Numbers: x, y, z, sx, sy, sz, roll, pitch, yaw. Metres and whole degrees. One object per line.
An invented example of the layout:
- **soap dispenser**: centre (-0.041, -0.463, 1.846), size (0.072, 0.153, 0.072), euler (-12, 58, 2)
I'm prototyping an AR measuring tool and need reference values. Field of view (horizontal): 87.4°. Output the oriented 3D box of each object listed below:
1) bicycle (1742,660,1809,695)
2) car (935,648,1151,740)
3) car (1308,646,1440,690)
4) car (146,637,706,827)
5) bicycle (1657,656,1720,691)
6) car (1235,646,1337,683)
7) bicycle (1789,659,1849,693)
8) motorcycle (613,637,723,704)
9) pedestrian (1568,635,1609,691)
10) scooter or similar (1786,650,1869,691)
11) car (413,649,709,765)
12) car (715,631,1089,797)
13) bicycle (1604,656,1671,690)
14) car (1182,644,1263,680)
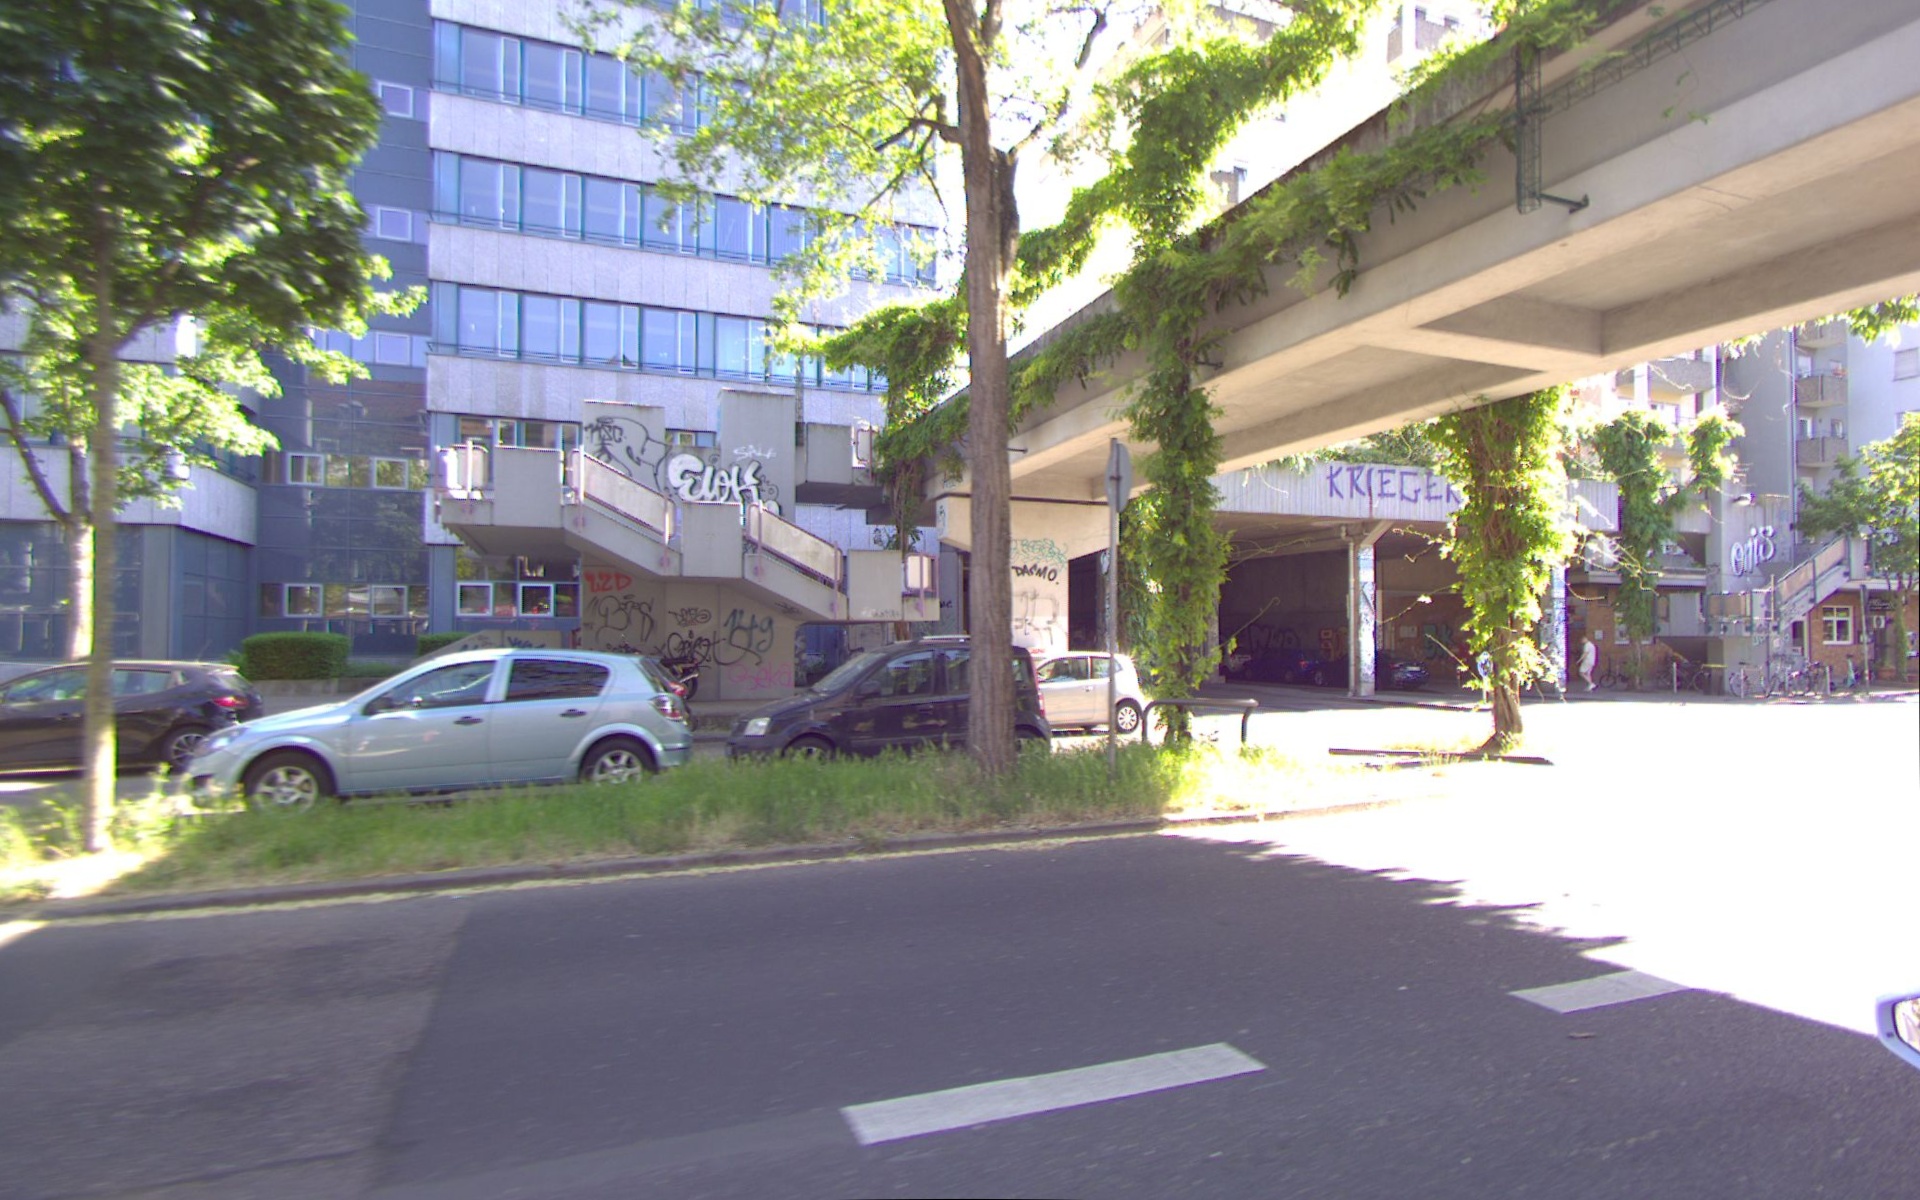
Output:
- **bicycle**: centre (24.715, 2.345, 30.459), size (1.768, 1.045, 0.415), euler (0, 1, -5)
- **car**: centre (1.497, 1.642, 18.237), size (3.595, 1.505, 1.603), euler (1, -3, -22)
- **car**: centre (14.735, 2.390, 36.067), size (1.829, 1.451, 4.588), euler (3, -3, -19)
- **car**: centre (-4.632, 1.130, 9.365), size (4.221, 1.466, 1.650), euler (1, -6, -23)
- **bicycle**: centre (23.148, 2.330, 31.934), size (0.412, 1.014, 1.597), euler (0, 0, -43)
- **car**: centre (13.124, 2.563, 40.685), size (1.741, 1.429, 4.043), euler (1, -3, -22)
- **bicycle**: centre (26.589, 2.353, 31.098), size (1.770, 1.014, 0.414), euler (0, 1, -12)
- **motorcycle**: centre (-5.813, 1.384, 19.995), size (2.024, 1.287, 0.728), euler (1, -2, -23)
- **pedestrian**: centre (20.025, 2.004, 32.006), size (0.785, 1.722, 0.754), euler (1, 0, -22)
- **scooter or similar**: centre (28.543, 2.301, 33.072), size (0.622, 1.294, 1.961), euler (0, -2, -25)
- **car**: centre (-5.926, 1.535, 15.234), size (3.941, 1.550, 1.730), euler (1, -3, -22)
- **car**: centre (-0.662, 1.168, 10.952), size (3.723, 1.558, 1.738), euler (1, -5, -21)
- **bicycle**: centre (21.903, 2.339, 32.502), size (0.478, 1.014, 1.789), euler (0, -2, -29)
- **car**: centre (11.711, 2.751, 45.070), size (1.587, 1.507, 3.616), euler (1, -3, -25)
